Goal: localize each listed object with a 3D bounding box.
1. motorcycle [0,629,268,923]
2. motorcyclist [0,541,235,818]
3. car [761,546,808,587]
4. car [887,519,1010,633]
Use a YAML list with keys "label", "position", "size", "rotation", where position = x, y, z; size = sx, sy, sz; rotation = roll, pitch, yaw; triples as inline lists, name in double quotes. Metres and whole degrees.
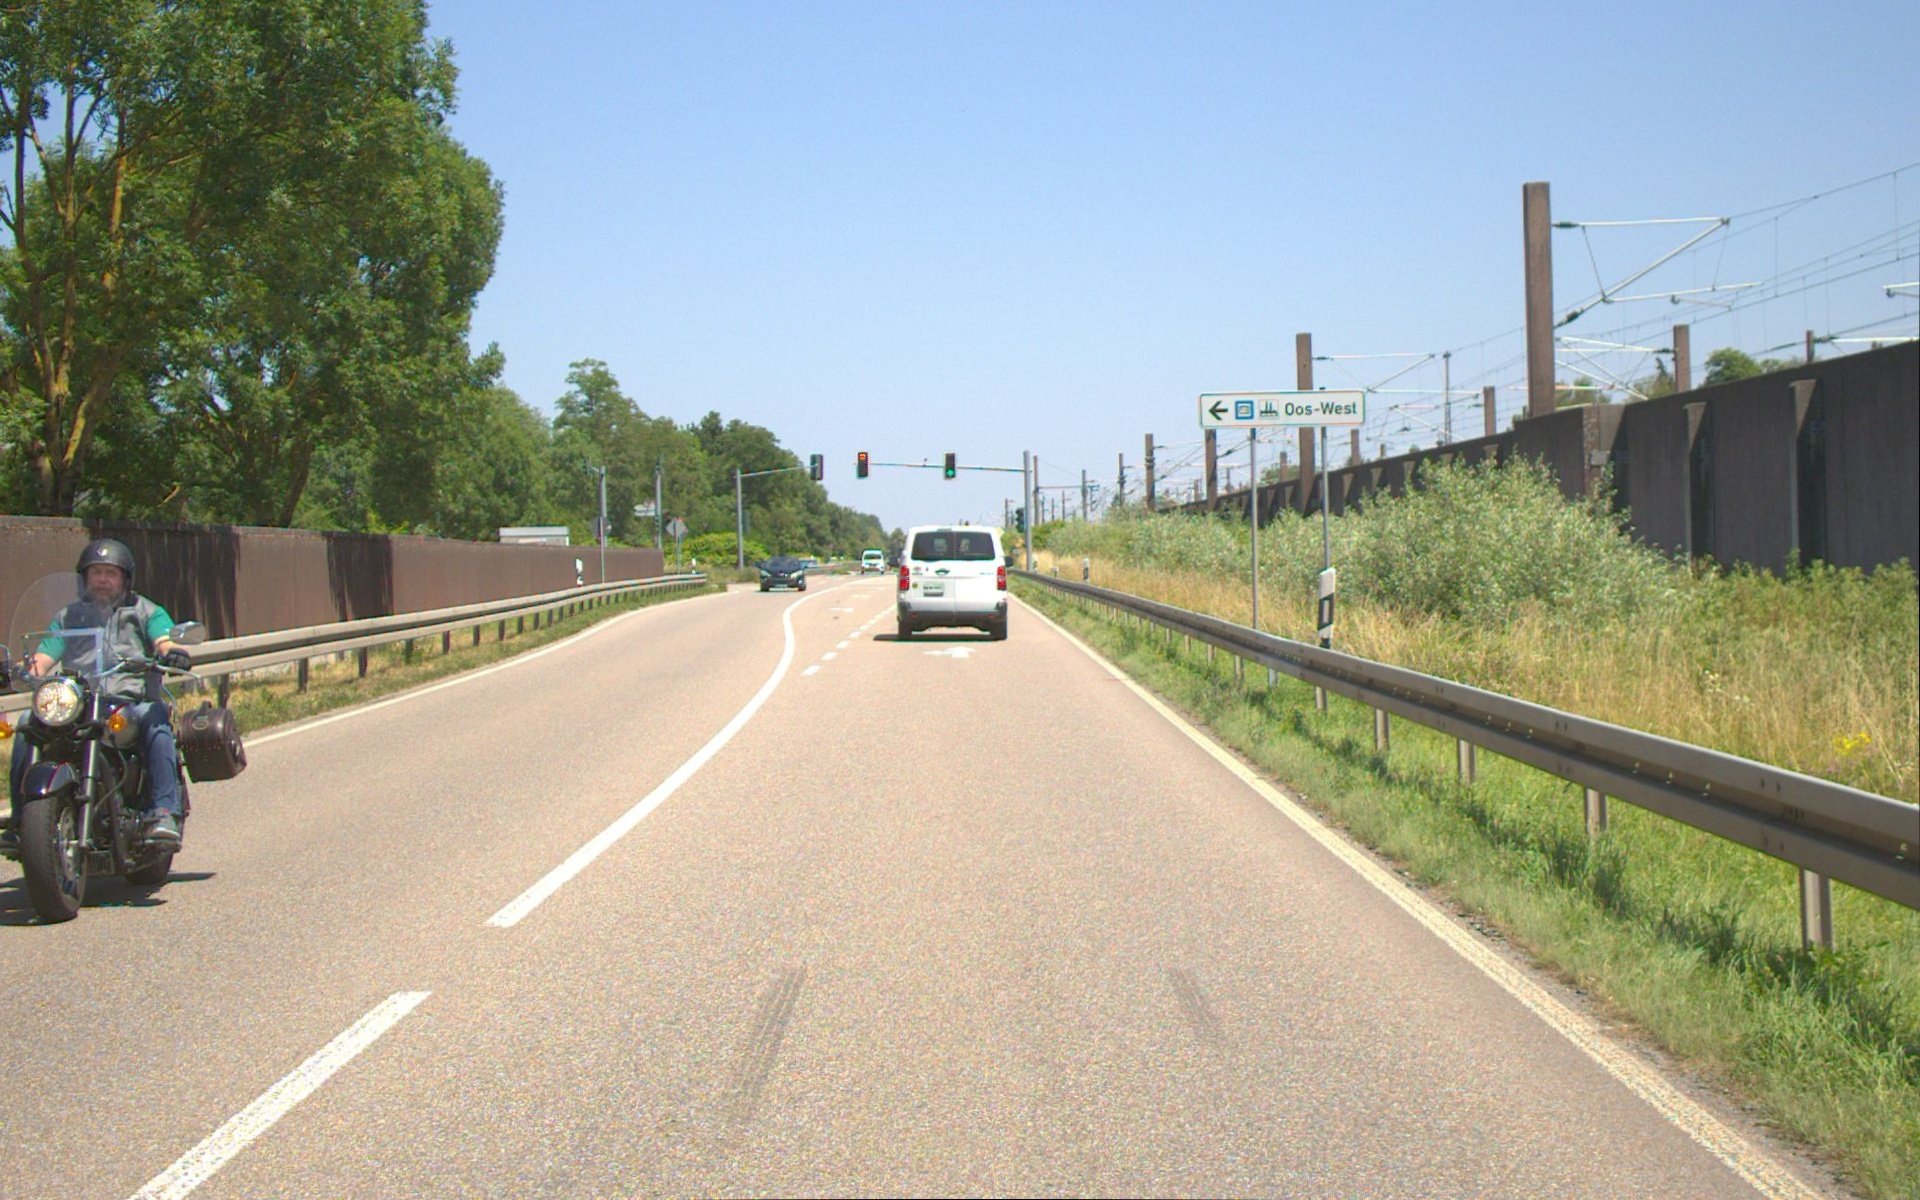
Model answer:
- label: "motorcycle"
  position: [-3.721, 0.718, 14.986]
  size: [0.953, 1.104, 2.336]
  rotation: [1, 1, -1]
- label: "motorcyclist"
  position: [-3.716, 0.325, 14.860]
  size: [0.937, 1.126, 0.927]
  rotation: [2, 1, -1]
- label: "car"
  position: [-7.154, -1.377, 140.472]
  size: [1.819, 1.590, 4.000]
  rotation: [1, 1, -1]
- label: "car"
  position: [-0.188, -0.435, 58.612]
  size: [1.993, 1.843, 4.000]
  rotation: [1, 1, 0]
